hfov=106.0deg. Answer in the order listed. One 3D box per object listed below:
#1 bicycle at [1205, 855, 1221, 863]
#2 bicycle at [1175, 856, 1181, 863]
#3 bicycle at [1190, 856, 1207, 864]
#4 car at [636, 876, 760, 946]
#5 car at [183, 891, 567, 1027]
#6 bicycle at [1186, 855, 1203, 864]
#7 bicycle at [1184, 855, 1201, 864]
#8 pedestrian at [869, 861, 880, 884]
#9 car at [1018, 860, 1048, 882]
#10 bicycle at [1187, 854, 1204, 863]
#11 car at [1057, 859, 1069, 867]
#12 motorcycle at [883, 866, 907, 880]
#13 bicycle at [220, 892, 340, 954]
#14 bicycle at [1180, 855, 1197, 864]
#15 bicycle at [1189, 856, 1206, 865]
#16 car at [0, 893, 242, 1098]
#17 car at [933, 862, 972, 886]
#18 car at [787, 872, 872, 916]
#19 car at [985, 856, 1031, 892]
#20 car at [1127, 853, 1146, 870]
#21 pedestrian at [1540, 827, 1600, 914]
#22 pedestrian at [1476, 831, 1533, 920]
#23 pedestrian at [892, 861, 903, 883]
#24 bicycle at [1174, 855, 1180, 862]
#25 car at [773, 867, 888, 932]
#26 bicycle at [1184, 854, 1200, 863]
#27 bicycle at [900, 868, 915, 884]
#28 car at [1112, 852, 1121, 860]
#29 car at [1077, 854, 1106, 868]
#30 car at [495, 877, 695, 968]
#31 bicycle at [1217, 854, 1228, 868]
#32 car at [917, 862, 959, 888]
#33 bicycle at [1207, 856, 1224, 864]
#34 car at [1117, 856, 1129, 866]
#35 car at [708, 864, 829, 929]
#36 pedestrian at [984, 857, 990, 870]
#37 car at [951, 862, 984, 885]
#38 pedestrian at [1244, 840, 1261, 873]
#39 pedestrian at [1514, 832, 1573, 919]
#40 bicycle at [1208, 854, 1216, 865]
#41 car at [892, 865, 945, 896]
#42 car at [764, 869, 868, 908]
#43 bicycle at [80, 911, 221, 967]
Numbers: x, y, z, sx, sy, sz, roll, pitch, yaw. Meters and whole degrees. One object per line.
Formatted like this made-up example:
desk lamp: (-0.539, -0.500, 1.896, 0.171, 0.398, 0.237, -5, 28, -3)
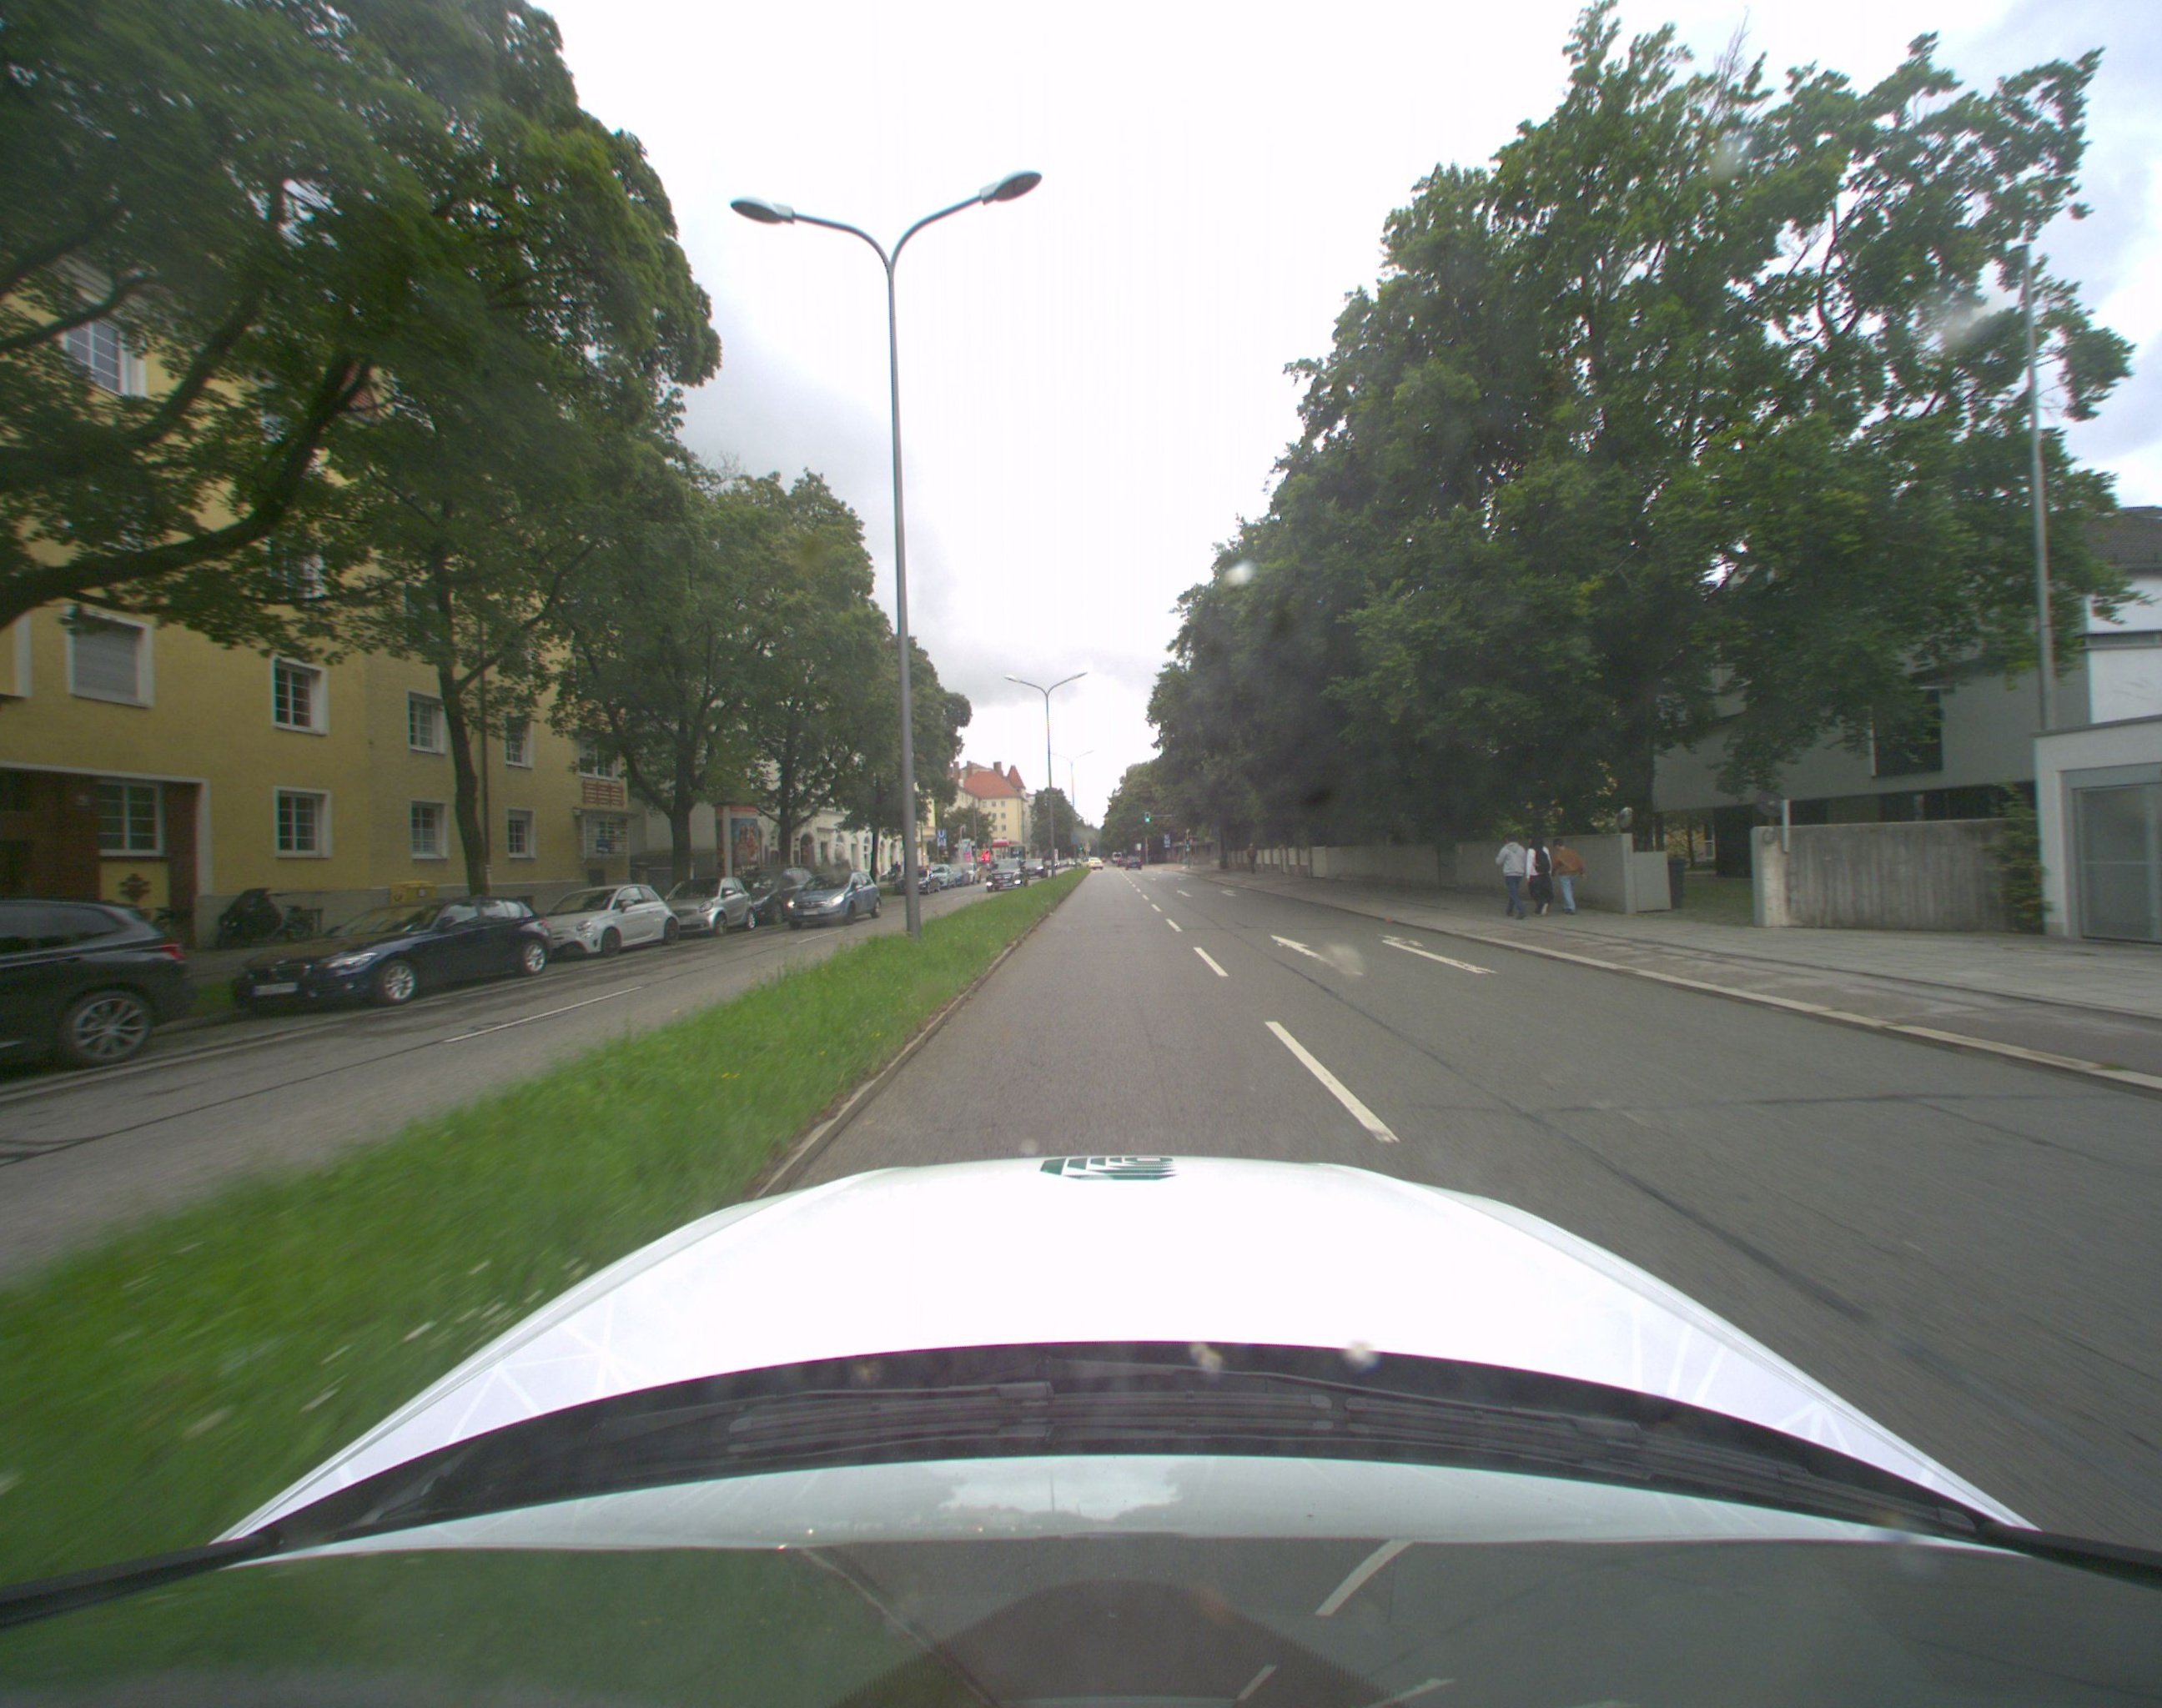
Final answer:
bicycle: (17.403, 0.684, 107.365, 2.130, 1.014, 0.636, -2, 0, 9)
bicycle: (13.632, 0.775, 114.045, 0.555, 1.014, 2.015, -2, 0, 0)
bicycle: (15.209, 0.786, 105.545, 2.130, 1.014, 0.636, -2, 0, 9)
car: (-9.831, 1.408, 21.146, 1.721, 1.558, 3.009, -2, 0, 0)
car: (-9.911, 1.368, 12.018, 1.720, 1.406, 4.365, -2, 0, 2)
bicycle: (14.893, 0.713, 107.013, 2.130, 1.101, 0.604, -2, 0, 9)
bicycle: (14.787, 0.728, 107.731, 2.130, 1.014, 0.604, -2, 0, 9)
pedestrian: (-15.229, 1.356, 60.042, 0.541, 1.697, 0.770, -2, 0, 0)
car: (-3.845, 1.328, 66.406, 1.868, 1.585, 4.623, -5, 0, 2)
bicycle: (15.006, 0.623, 106.356, 2.130, 1.071, 0.604, -2, 0, 9)
car: (-3.239, 1.629, 146.894, 1.753, 1.460, 4.001, -2, 0, 1)
motorcycle: (-16.166, 1.661, 70.855, 0.602, 1.130, 1.999, -3, -1, 41)
bicycle: (-18.189, 1.533, 18.562, 0.767, 1.222, 1.931, -2, 0, 2)
bicycle: (14.731, 0.731, 111.504, 2.130, 1.218, 0.604, -2, 0, 9)
bicycle: (14.991, 0.802, 104.925, 2.130, 1.014, 0.604, -2, 0, 9)
car: (-10.099, 1.274, 6.422, 1.871, 1.645, 4.772, -2, 0, 2)
car: (-8.822, 1.345, 56.071, 1.804, 1.507, 4.293, -2, 0, 2)
car: (-9.518, 1.467, 31.215, 1.720, 1.403, 4.406, -2, 0, 2)
car: (-3.728, 0.988, 42.378, 1.763, 1.679, 4.370, -4, 0, 2)
car: (6.105, 0.828, 90.069, 1.850, 1.684, 4.001, -2, 0, 1)
pedestrian: (10.089, 0.334, 16.838, 0.664, 1.705, 0.766, -4, -1, 0)
pedestrian: (8.621, 0.437, 16.608, 0.664, 1.722, 0.729, -4, -1, 0)
pedestrian: (-14.820, 1.469, 65.667, 0.594, 1.697, 0.937, -2, -1, -26)
bicycle: (13.767, 0.693, 116.777, 0.555, 1.014, 2.015, -2, 0, 0)
car: (-6.953, 1.204, 23.069, 1.804, 1.507, 4.059, -4, 0, 2)
bicycle: (14.766, 0.652, 108.462, 2.130, 1.086, 0.604, -2, 0, 9)
bicycle: (-12.636, 1.624, 59.397, 0.460, 1.115, 1.947, -2, 0, -30)
car: (8.070, 0.517, 185.002, 1.986, 1.756, 4.001, -2, 0, 1)
car: (1.233, 0.836, 98.152, 1.785, 1.647, 4.747, -2, 0, -21)
car: (-10.180, 1.356, 17.471, 1.720, 1.561, 4.059, -2, 0, 2)
bicycle: (11.969, 0.593, 68.916, 0.620, 1.090, 2.026, -2, 0, 1)
car: (-9.019, 1.292, 51.728, 1.804, 1.507, 3.962, -2, 0, 2)
bicycle: (17.447, 0.766, 105.879, 2.130, 1.014, 0.636, -2, 0, 9)
car: (6.122, 1.033, 118.754, 1.772, 1.474, 3.894, -1, 0, 2)
car: (-9.752, 1.256, 25.869, 1.803, 1.728, 4.769, -2, 0, 2)
pedestrian: (-12.462, 1.278, 107.898, 0.531, 1.695, 0.579, -2, 0, 10)
car: (-8.488, 1.424, 61.050, 1.642, 1.585, 3.793, -2, 0, 3)
pedestrian: (10.644, 0.159, 50.549, 0.774, 1.942, 0.802, -3, -1, 2)
pedestrian: (9.405, 0.426, 16.592, 0.664, 1.693, 0.729, -4, -1, 0)
bicycle: (13.521, 0.579, 84.037, 0.597, 1.121, 1.890, -2, -1, 2)
car: (-8.961, 1.432, 45.233, 1.804, 1.507, 4.647, -2, 0, 2)
car: (-11.369, 1.477, 35.104, 3.877, 1.464, 1.732, -2, 0, 0)
bicycle: (-18.494, 1.659, 16.264, 0.539, 0.899, 1.931, -2, 0, 2)
